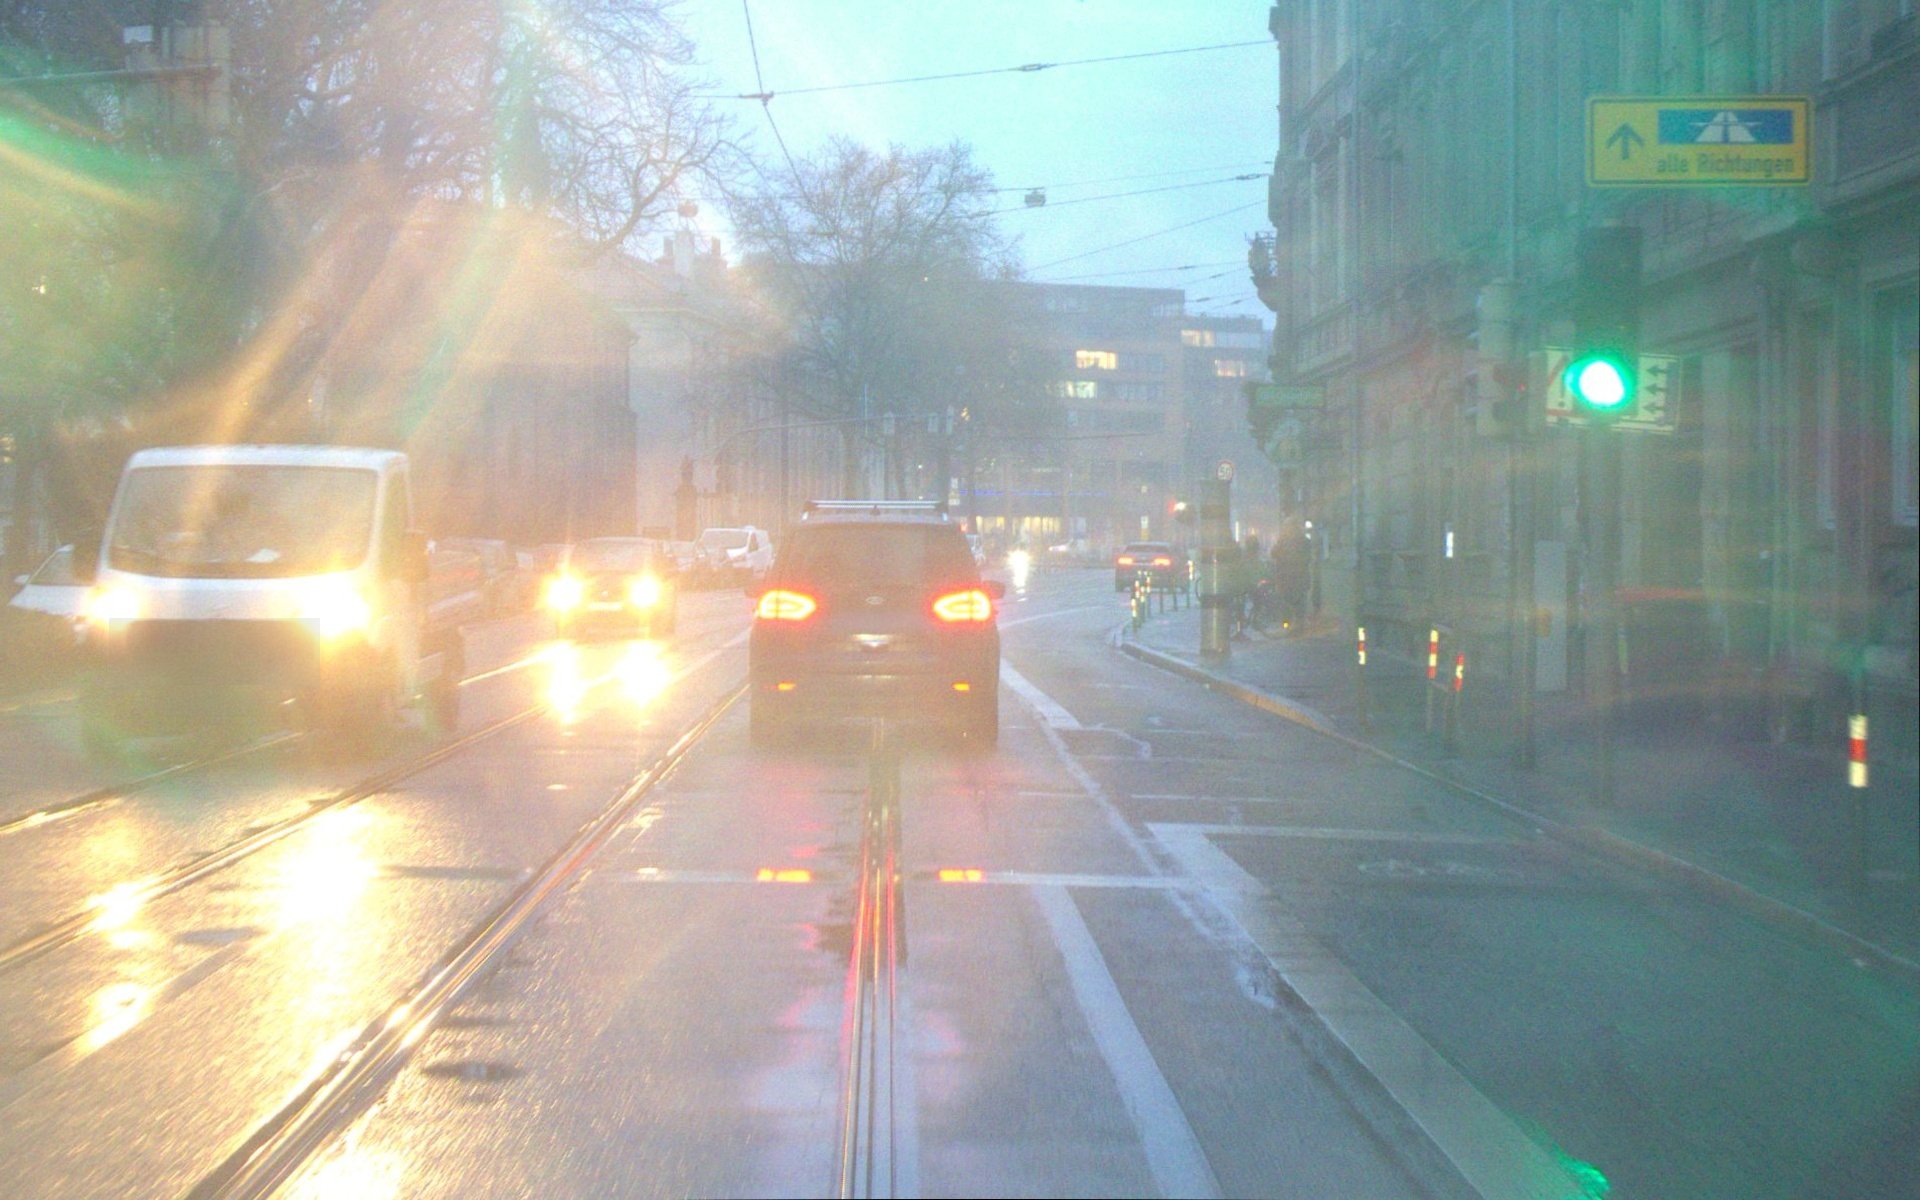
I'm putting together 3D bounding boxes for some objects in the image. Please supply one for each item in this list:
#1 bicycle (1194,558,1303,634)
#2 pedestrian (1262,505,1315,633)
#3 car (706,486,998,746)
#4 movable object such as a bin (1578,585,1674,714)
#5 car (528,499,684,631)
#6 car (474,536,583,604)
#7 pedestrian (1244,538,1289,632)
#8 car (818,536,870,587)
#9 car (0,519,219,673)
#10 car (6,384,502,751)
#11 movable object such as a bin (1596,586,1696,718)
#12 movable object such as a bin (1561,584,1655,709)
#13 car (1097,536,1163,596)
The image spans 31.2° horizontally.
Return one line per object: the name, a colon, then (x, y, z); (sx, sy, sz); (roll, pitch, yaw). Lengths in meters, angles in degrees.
bicycle: (4.406, -0.072, 52.690); (0.792, 1.140, 2.244); (1, 1, -20)
pedestrian: (5.045, -0.479, 52.900); (0.715, 1.946, 0.657); (1, 0, -1)
car: (-0.750, 0.085, 26.498); (1.993, 1.835, 4.000); (0, 1, 2)
movable object such as a bin: (5.577, 0.409, 28.819); (0.640, 1.051, 0.744); (1, 0, -1)
car: (-5.615, -0.558, 55.027); (1.993, 2.007, 4.000); (1, 1, 1)
car: (-10.703, -0.745, 85.493); (1.984, 1.610, 4.429); (1, 1, 2)
pedestrian: (5.864, -0.286, 65.783); (0.771, 1.769, 0.685); (1, 0, -1)
car: (-4.718, -1.579, 140.197); (1.993, 2.007, 4.000); (1, 1, -1)
car: (-9.628, -0.069, 38.643); (1.983, 1.610, 4.430); (1, 1, -5)
car: (-4.926, -0.238, 25.023); (2.446, 2.339, 5.845); (0, 1, -1)
movable object such as a bin: (5.593, 0.417, 28.051); (0.640, 1.051, 0.744); (1, 0, -1)
movable object such as a bin: (5.570, 0.391, 29.583); (0.640, 1.051, 0.744); (1, 0, -1)
car: (5.358, -1.083, 108.658); (1.993, 1.835, 4.000); (0, 1, 2)
